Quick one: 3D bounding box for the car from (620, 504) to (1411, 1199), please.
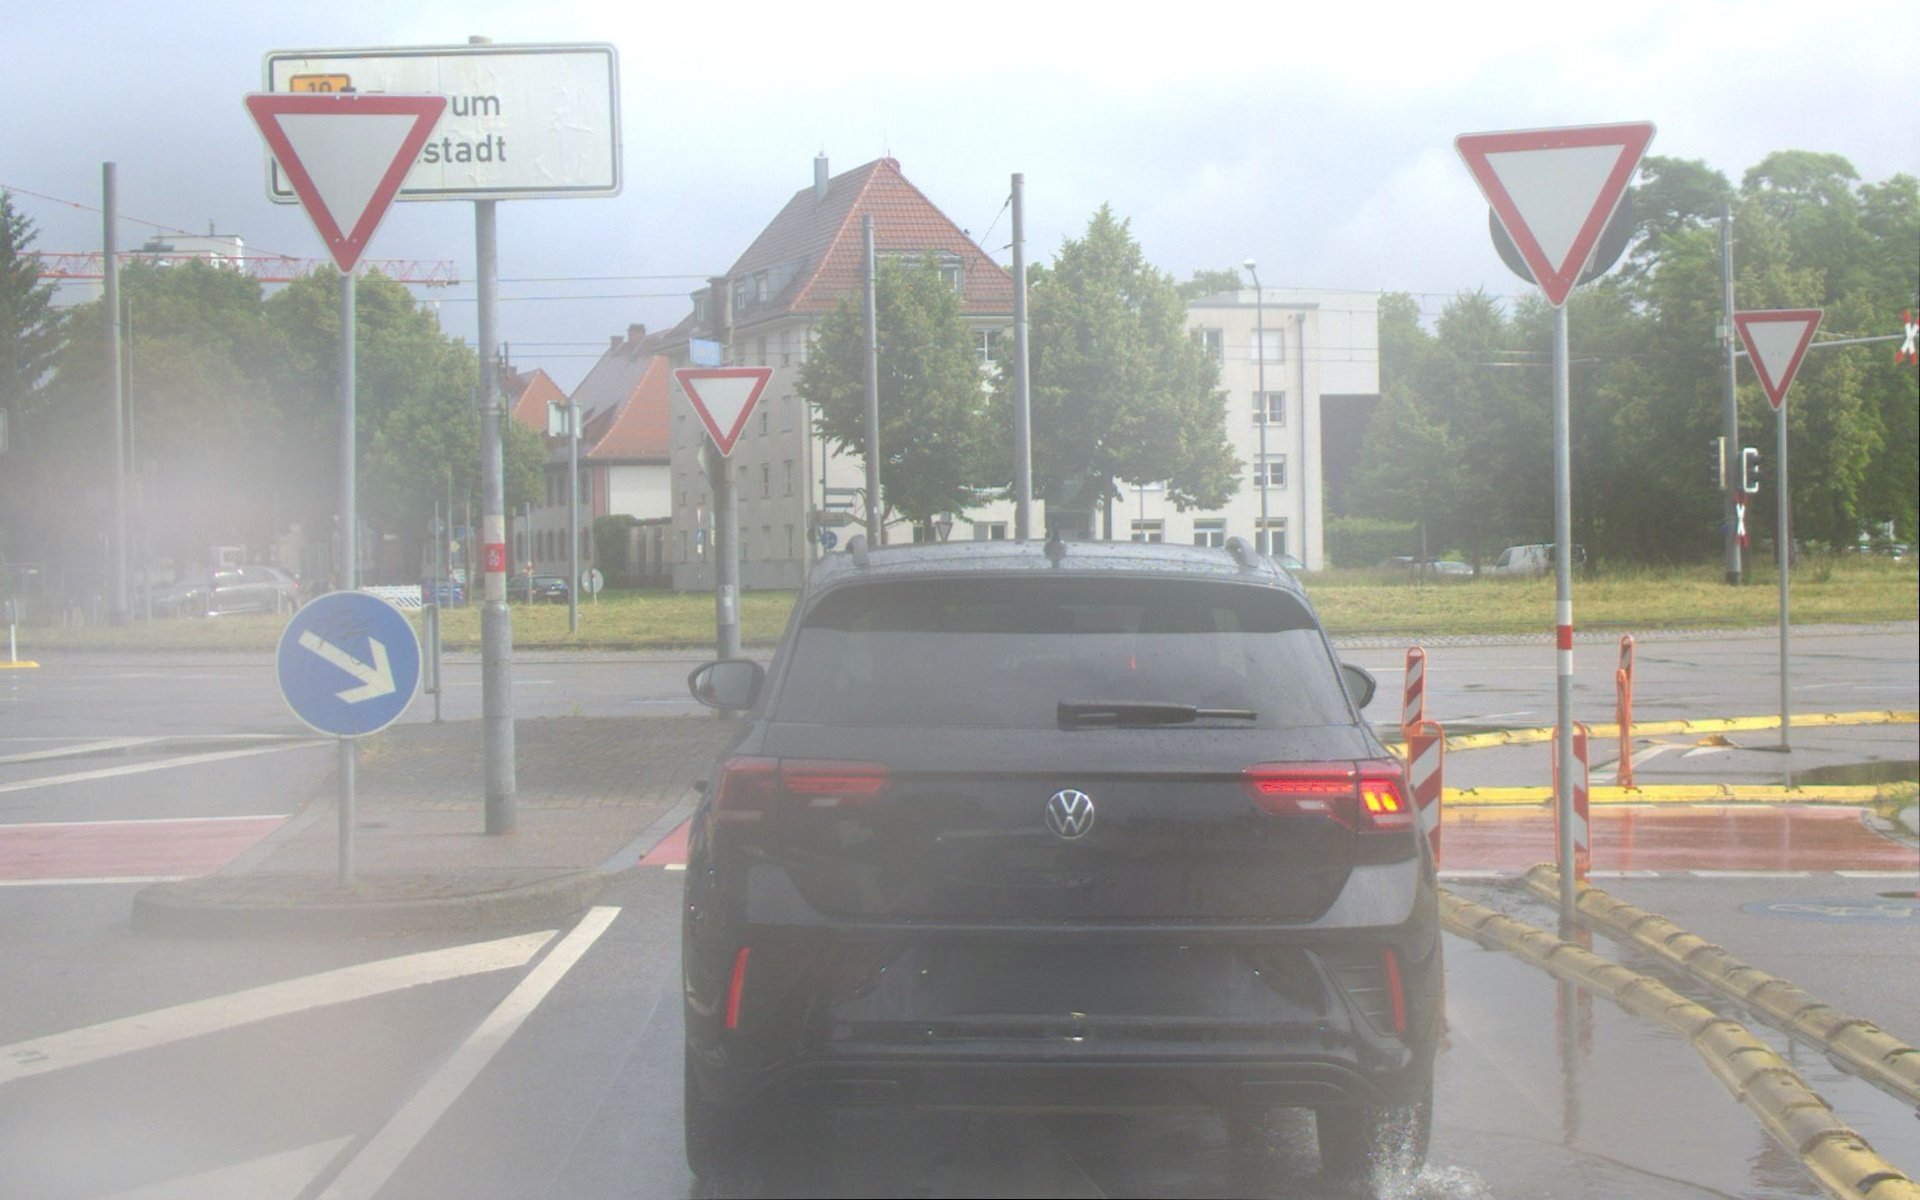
[{"bbox_3d":[0.036,0.561,9.255,1.708,1.568,3.683,0,0,-3],"label":"car"}]

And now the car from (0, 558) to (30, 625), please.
[{"bbox_3d":[-23.966,-0.188,81.295,3.495,1.579,1.567,-1,1,-31],"label":"car"}]

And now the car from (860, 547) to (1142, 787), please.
[{"bbox_3d":[0.354,0.403,23.669,1.735,1.509,3.603,0,1,4],"label":"car"}]
